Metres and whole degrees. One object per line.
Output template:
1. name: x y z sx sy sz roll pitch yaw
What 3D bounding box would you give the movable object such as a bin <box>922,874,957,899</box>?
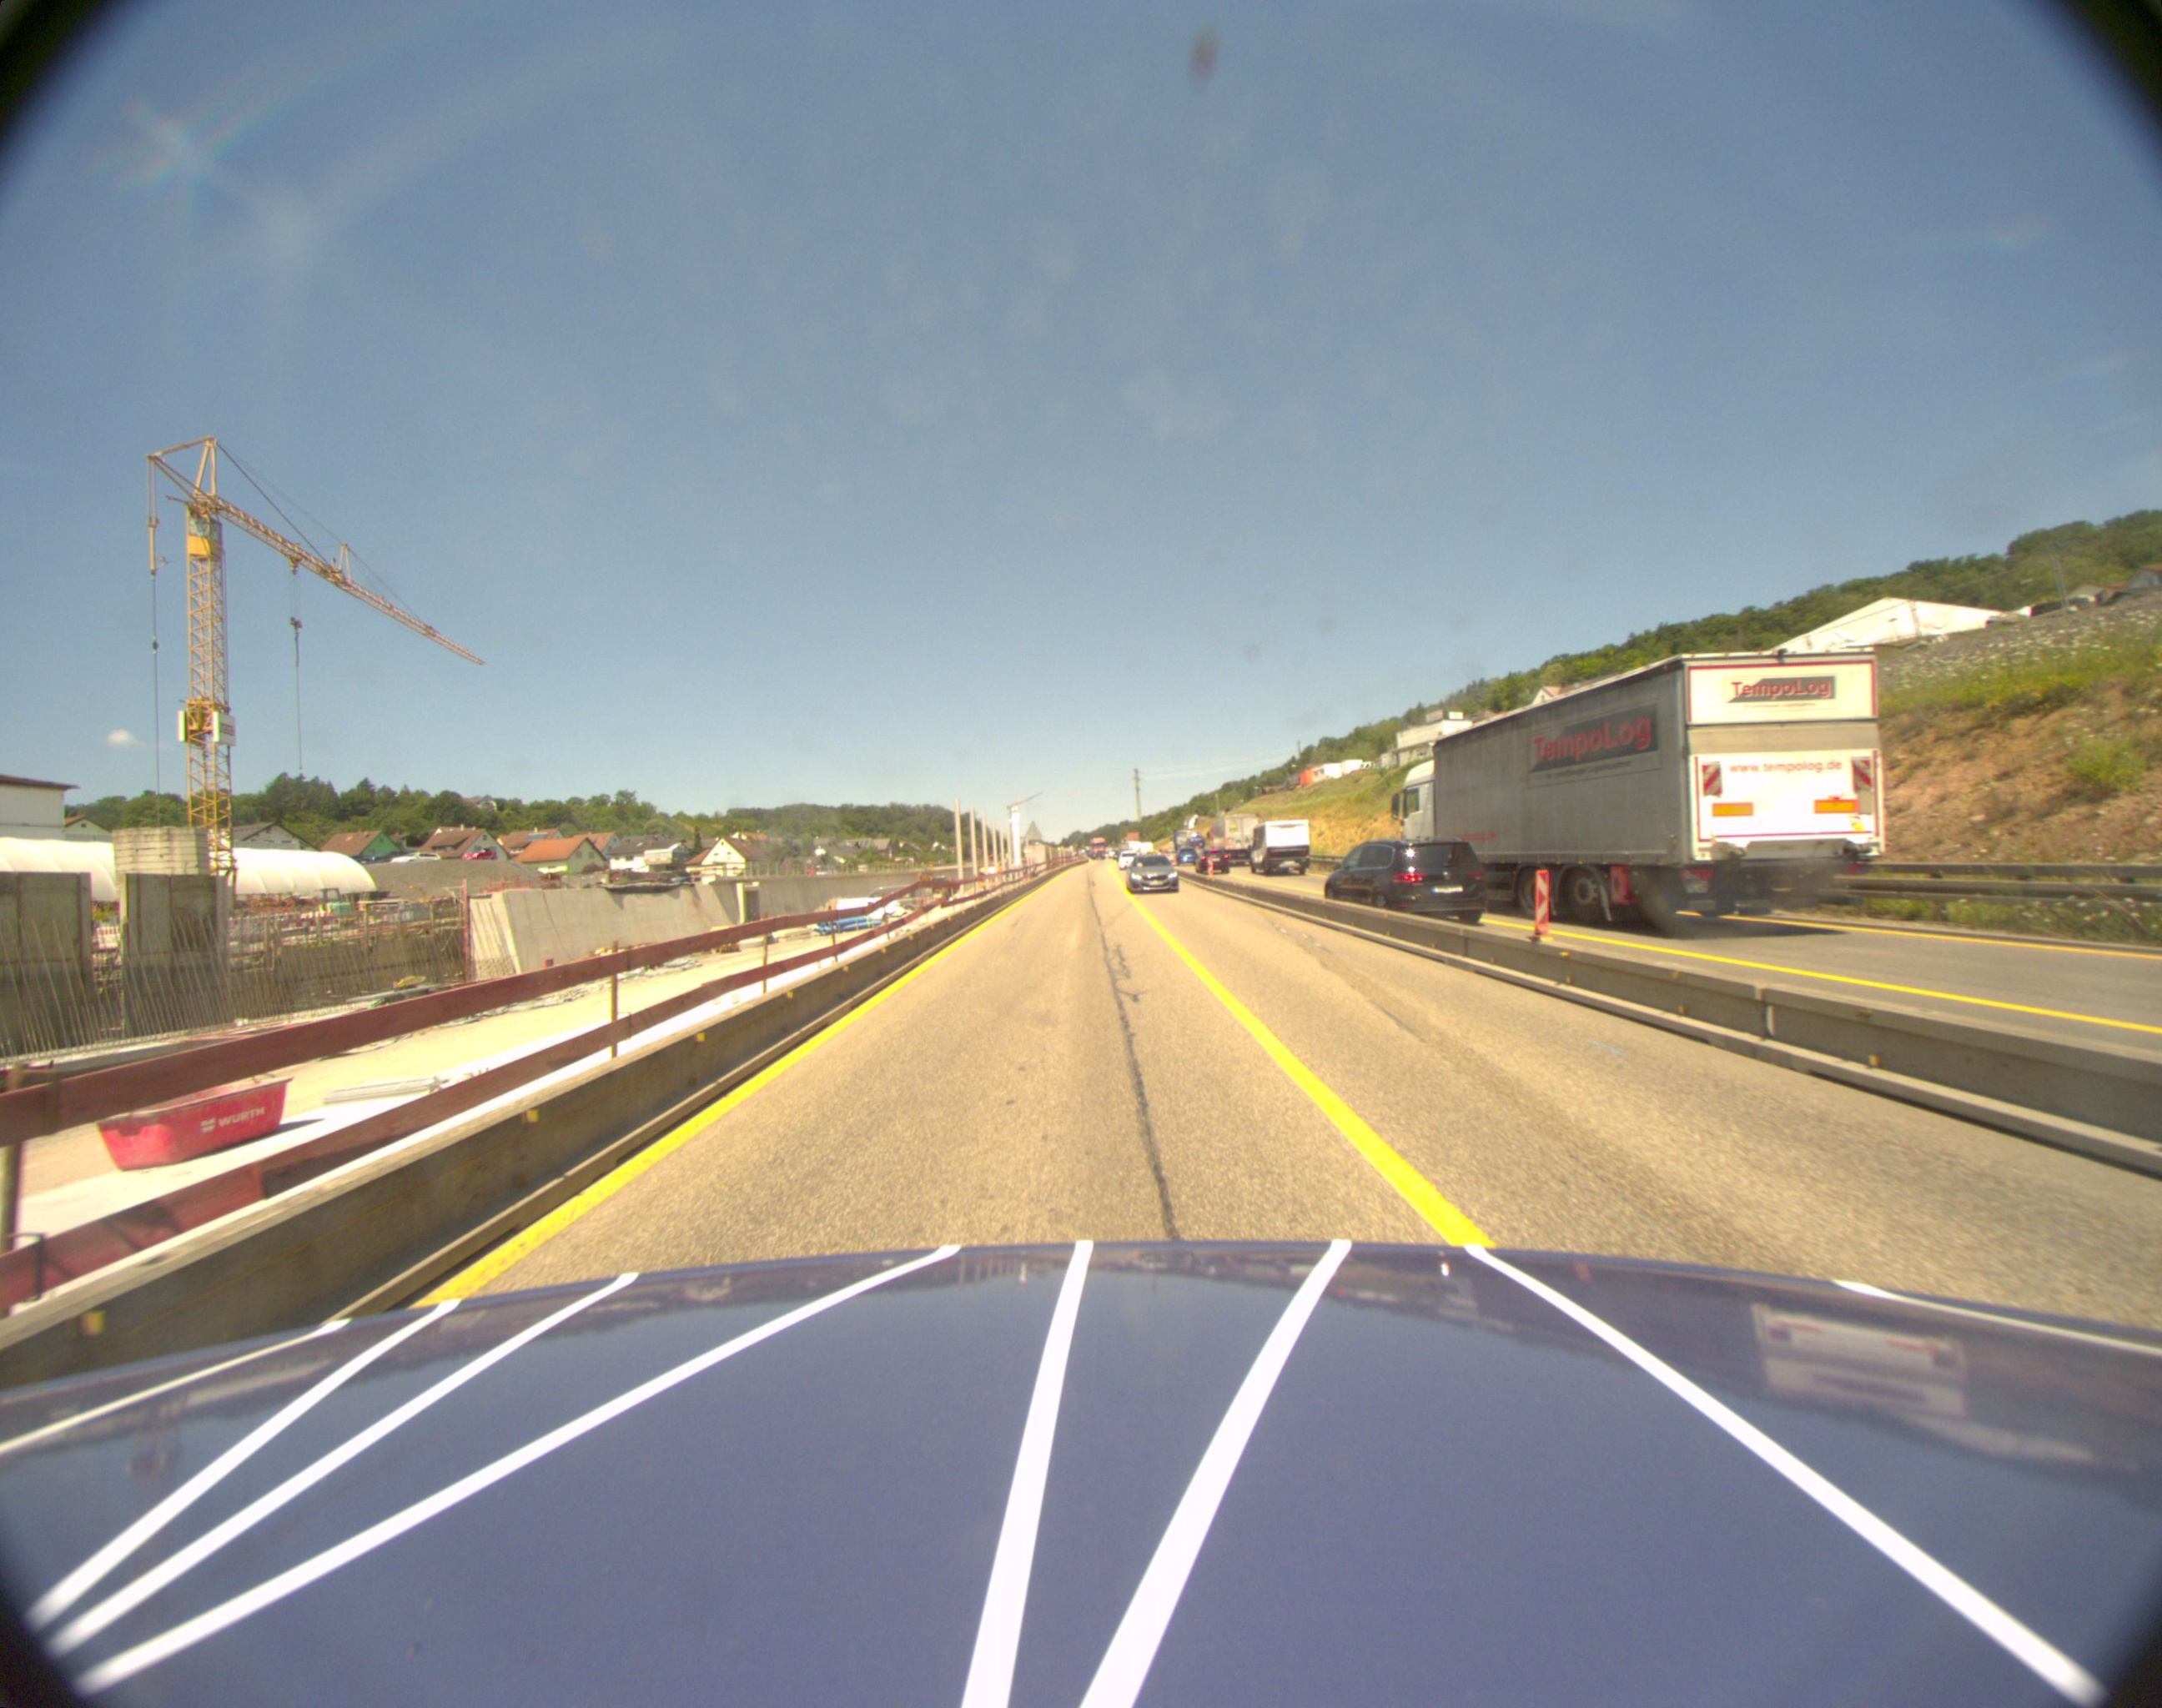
1. movable object such as a bin: -18.053 4.147 97.261 3.266 2.769 4.001 -2 1 7

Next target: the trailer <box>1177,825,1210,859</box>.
1. trailer: 13.772 -1.467 94.041 2.606 3.848 11.272 -3 1 2

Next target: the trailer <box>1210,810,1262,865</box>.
1. trailer: 12.050 -1.324 60.064 2.661 3.794 11.823 -3 1 6

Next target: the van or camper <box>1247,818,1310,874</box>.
1. van or camper: 10.444 -0.445 40.632 2.128 2.689 6.457 -2 1 5

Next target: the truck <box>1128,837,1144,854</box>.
1. truck: 13.601 -2.200 187.581 3.115 4.024 13.155 -3 1 1

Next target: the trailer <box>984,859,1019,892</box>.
1. trailer: -9.613 2.537 92.936 2.446 3.333 12.893 -3 1 1

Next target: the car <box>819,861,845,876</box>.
1. car: -31.794 1.814 97.056 1.658 1.594 4.605 -3 1 0

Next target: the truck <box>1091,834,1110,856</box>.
1. truck: 3.715 -1.753 144.646 3.463 4.024 10.209 -3 1 1

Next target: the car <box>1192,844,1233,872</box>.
1. car: 7.743 0.253 44.982 1.758 1.509 4.187 -3 0 2

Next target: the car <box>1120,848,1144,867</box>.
1. car: 4.172 0.244 62.534 1.838 1.465 4.389 -3 1 2

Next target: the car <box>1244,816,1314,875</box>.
1. car: 10.406 -0.495 40.520 2.280 2.805 6.559 -3 1 3

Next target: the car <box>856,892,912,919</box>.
1. car: -15.497 4.039 59.845 3.870 1.676 1.692 -4 1 -4

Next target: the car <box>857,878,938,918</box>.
1. car: -15.281 3.655 63.594 6.308 2.566 2.053 -6 0 -12

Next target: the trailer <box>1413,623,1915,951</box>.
1. trailer: 9.438 -0.944 14.039 2.820 4.150 8.241 -3 1 0

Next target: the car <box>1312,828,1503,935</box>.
1. car: 6.287 0.456 15.304 1.860 1.746 4.608 -3 0 1

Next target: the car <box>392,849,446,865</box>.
1. car: -68.684 0.323 78.893 1.729 1.477 4.214 -3 1 1

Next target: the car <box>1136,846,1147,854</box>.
1. car: 11.314 -0.736 142.164 1.838 1.368 4.389 -3 1 0

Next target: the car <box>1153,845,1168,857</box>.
1. car: 10.938 -0.406 104.885 1.837 1.510 4.844 -3 1 5

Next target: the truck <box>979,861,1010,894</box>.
1. truck: -9.770 2.621 86.251 2.504 3.385 5.435 -3 1 1

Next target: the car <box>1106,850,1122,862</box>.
1. car: 4.385 0.294 101.743 1.801 1.542 4.000 -3 -1 -1

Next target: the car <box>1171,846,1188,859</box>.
1. car: 11.072 -0.190 85.615 1.837 1.421 4.536 -3 1 6

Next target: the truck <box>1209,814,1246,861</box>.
1. truck: 12.762 -1.431 66.343 2.590 3.807 5.382 -2 1 6

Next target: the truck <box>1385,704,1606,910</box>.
1. truck: 9.401 -1.008 17.748 2.805 4.126 4.072 -3 1 -1

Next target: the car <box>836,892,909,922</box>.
1. car: -15.514 3.954 56.665 4.801 1.758 1.720 -4 0 1

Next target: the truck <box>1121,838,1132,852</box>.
1. truck: 14.317 -2.872 239.774 3.148 4.024 10.209 -3 1 1

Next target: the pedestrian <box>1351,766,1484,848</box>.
1. pedestrian: 9.286 -1.239 21.388 1.998 2.002 3.999 -3 1 1

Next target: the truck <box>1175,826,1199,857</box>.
1. truck: 13.983 -1.685 100.278 2.588 3.954 4.588 -3 1 2

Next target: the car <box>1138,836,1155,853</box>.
1. car: 10.757 -1.580 124.755 2.211 2.614 6.627 -3 1 0

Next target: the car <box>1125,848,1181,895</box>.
1. car: 2.698 0.593 29.234 1.838 1.588 4.389 -3 1 2

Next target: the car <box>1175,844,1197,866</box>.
1. car: 9.407 0.058 67.910 1.837 1.654 4.686 -2 2 9

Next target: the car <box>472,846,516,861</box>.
1. car: -59.698 -0.066 77.356 1.545 1.477 3.606 -3 1 1
